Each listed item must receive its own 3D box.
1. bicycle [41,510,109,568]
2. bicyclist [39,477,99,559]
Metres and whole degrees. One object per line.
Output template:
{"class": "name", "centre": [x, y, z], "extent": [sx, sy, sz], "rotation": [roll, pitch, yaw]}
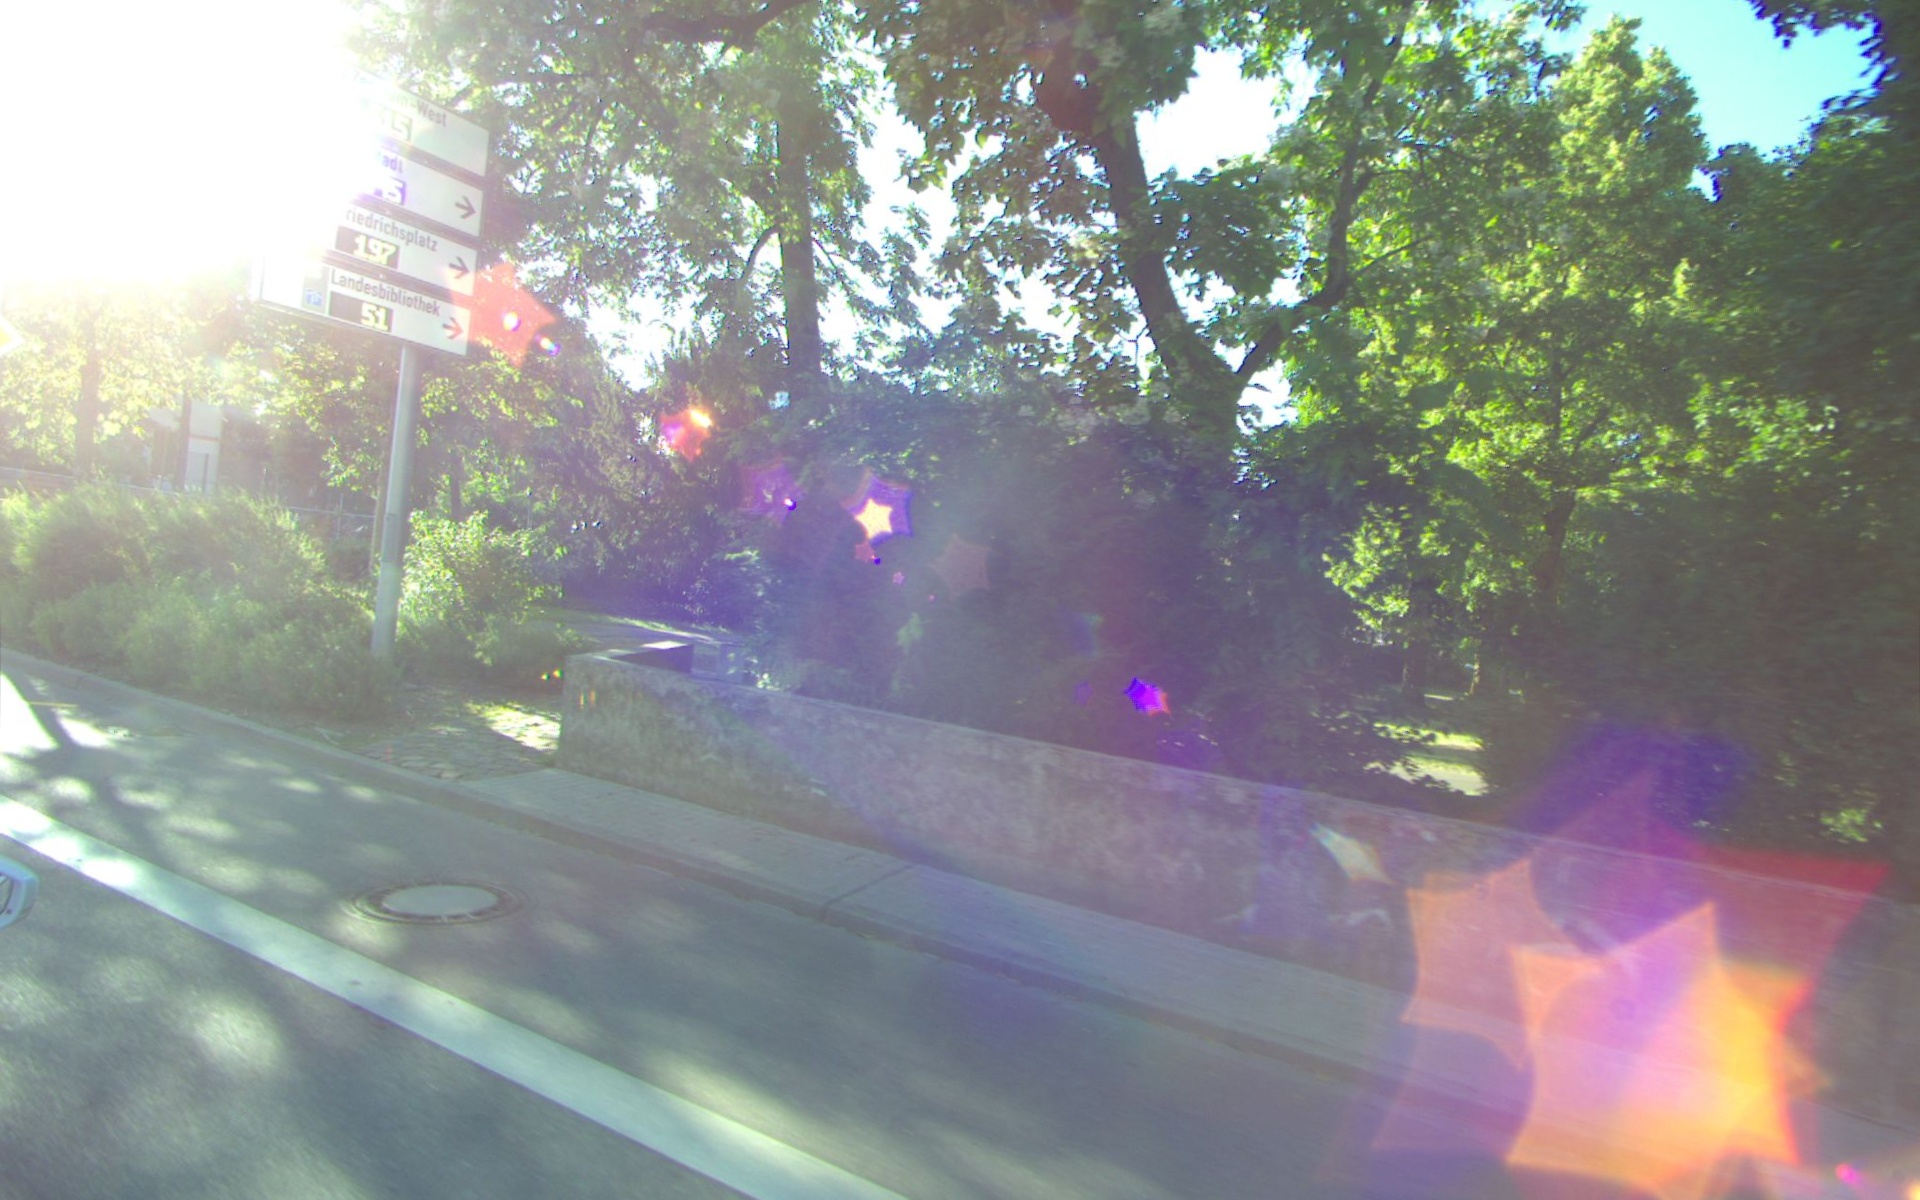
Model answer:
{"class": "bicycle", "centre": [-19.088, -1.326, 21.686], "extent": [1.878, 1.074, 0.428], "rotation": [7, 1, 29]}
{"class": "bicyclist", "centre": [-19.157, -1.771, 21.633], "extent": [0.887, 1.635, 0.585], "rotation": [7, 1, 28]}
